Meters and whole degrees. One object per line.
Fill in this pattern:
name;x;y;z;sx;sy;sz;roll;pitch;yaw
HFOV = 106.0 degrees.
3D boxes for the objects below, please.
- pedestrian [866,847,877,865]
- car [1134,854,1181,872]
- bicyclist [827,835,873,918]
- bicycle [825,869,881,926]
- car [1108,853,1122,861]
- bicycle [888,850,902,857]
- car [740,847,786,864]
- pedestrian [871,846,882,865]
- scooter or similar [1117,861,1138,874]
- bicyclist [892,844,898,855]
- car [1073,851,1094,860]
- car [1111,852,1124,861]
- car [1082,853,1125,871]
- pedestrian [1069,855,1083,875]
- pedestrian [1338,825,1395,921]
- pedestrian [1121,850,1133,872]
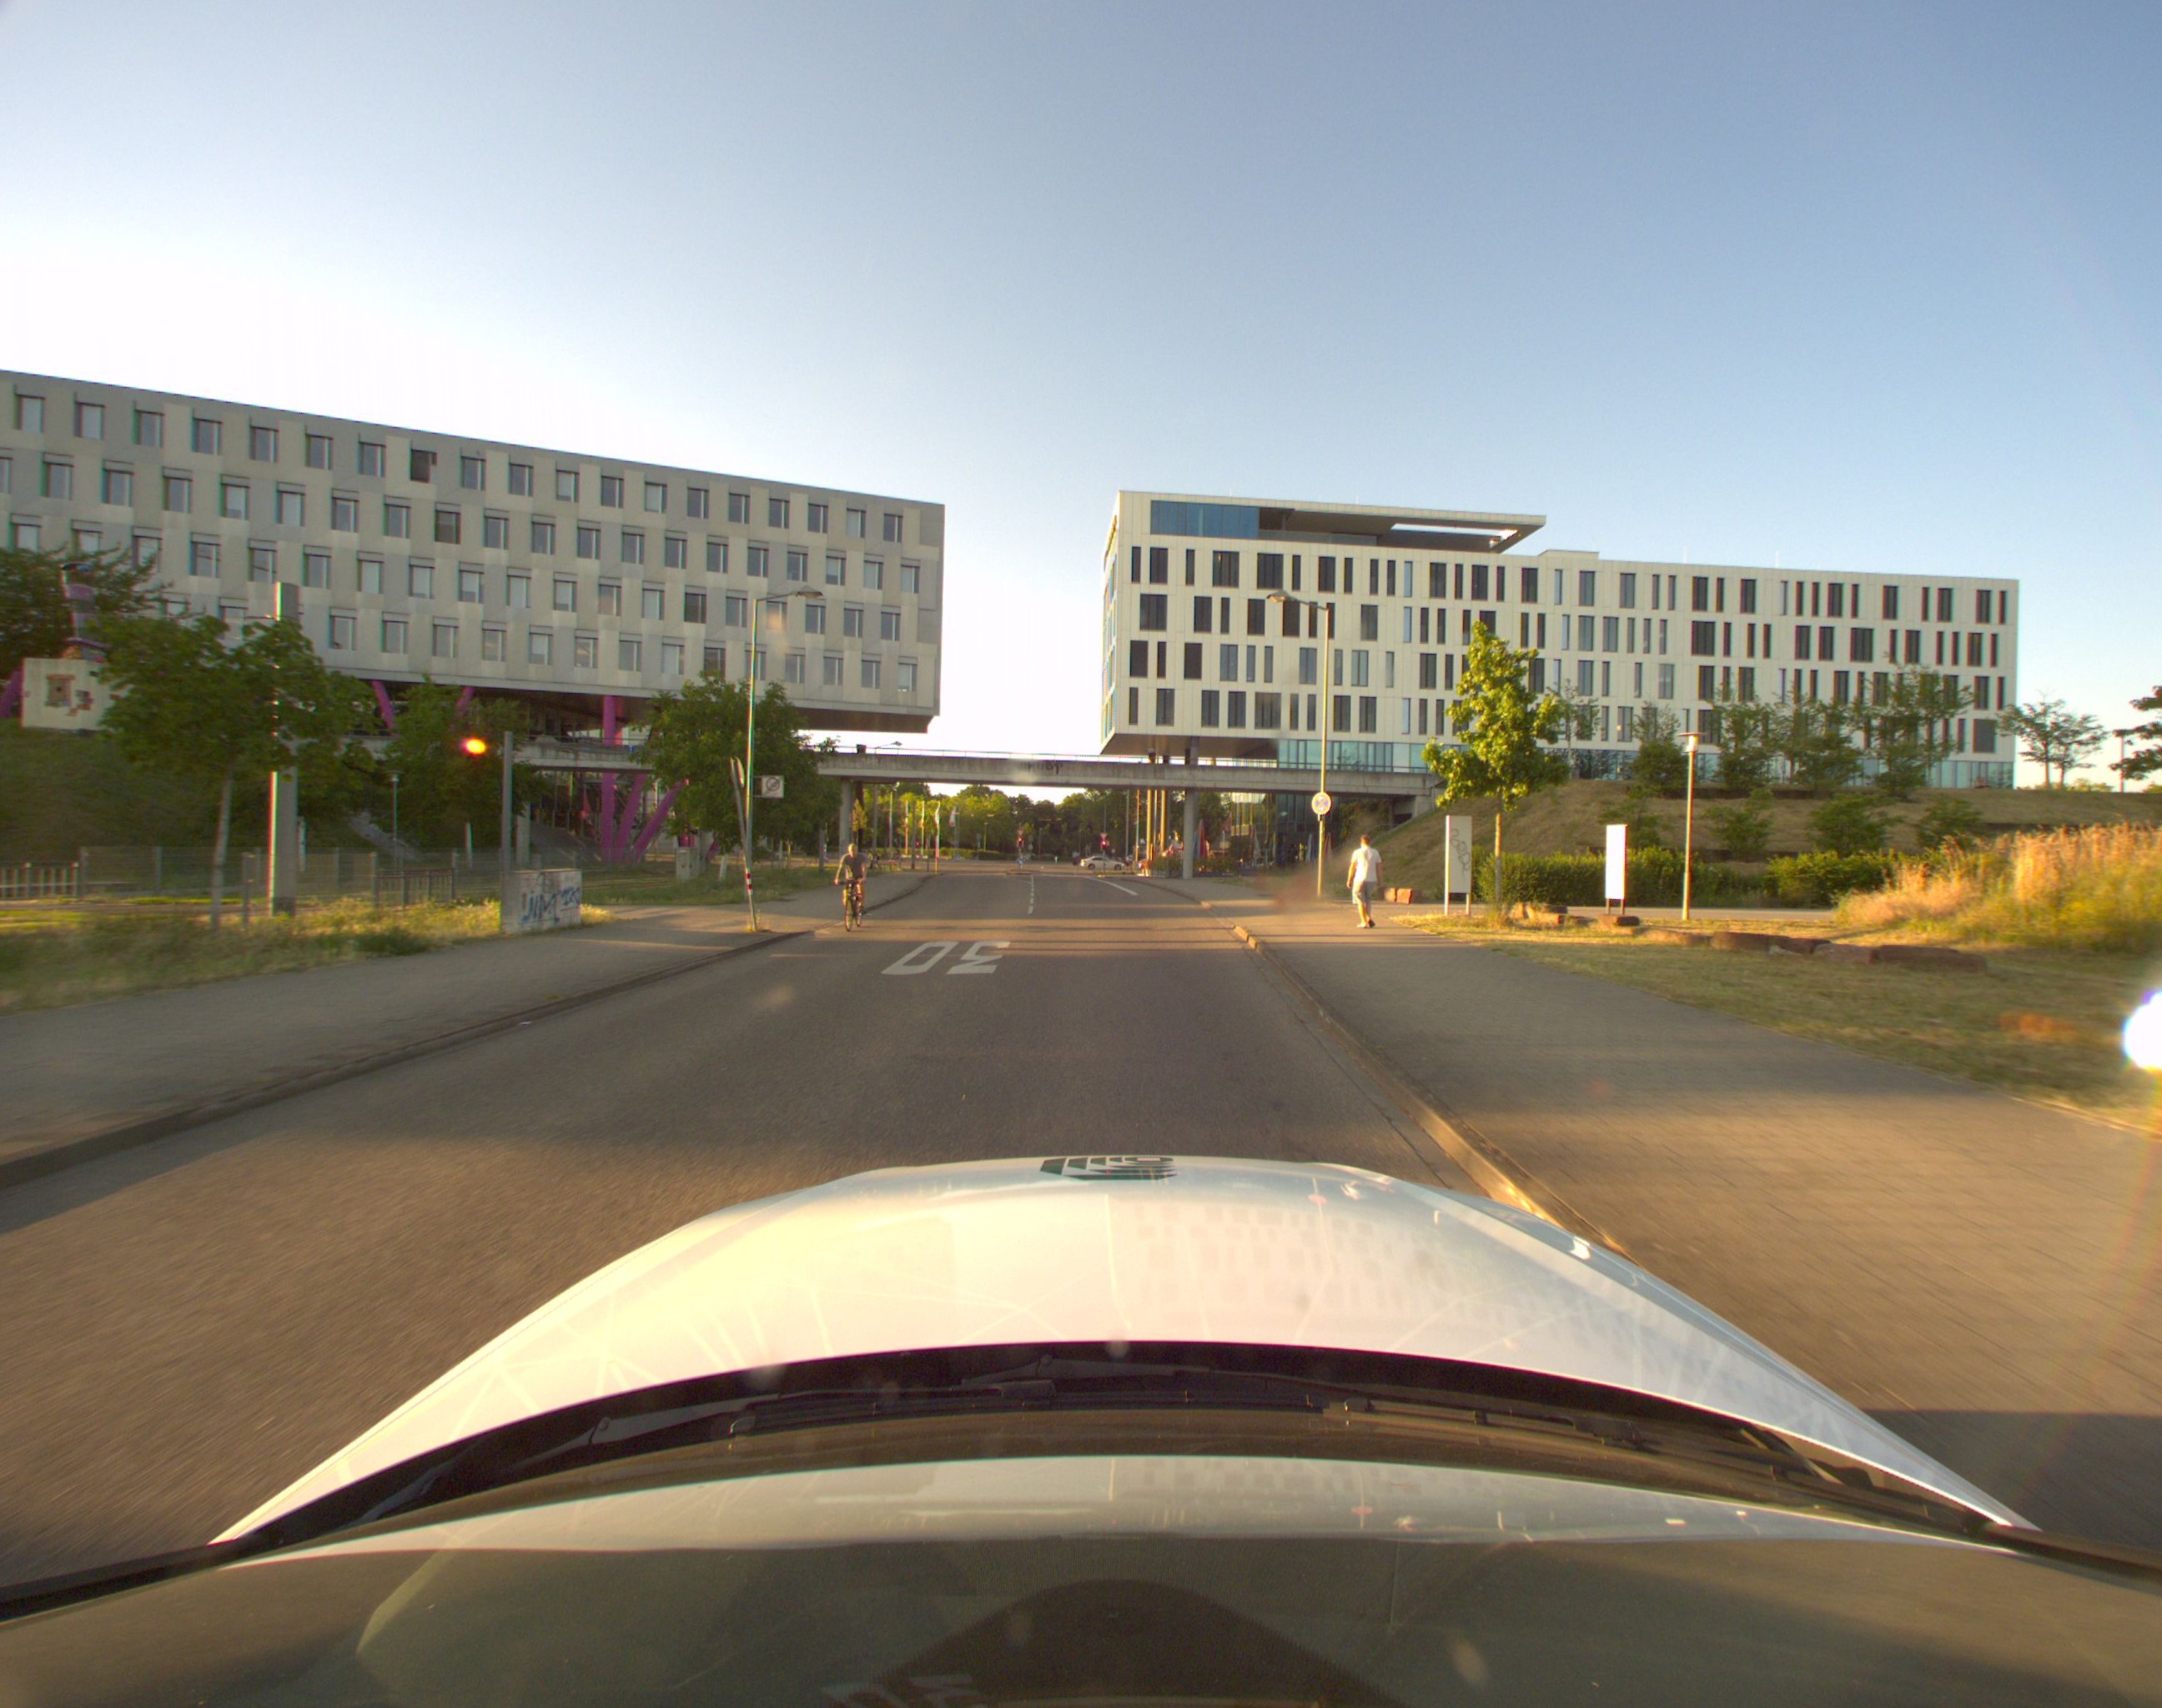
pedestrian;-18.643;0.154;72.481;0.681;1.624;0.715;1;1;14
car;8.390;0.972;89.407;4.717;1.828;1.885;1;1;-12
bicyclist;-4.794;0.444;16.947;0.612;1.662;1.037;1;1;2
bicycle;-4.749;0.879;17.080;0.536;1.043;1.926;1;1;2
car;6.774;0.536;161.291;1.484;1.606;3.422;1;1;23
bicycle;-28.577;-0.095;124.946;1.974;1.128;0.555;1;1;-29
car;-36.207;0.111;92.695;4.459;1.816;1.942;1;1;-5
pedestrian;-18.420;0.115;73.285;0.695;1.664;0.715;1;1;14
scooter or similar;4.395;1.308;77.596;1.861;1.174;0.761;1;1;-12
bicyclist;-28.570;-0.655;124.951;0.761;1.723;0.547;1;1;-28
car;0.584;0.354;184.102;4.664;1.869;2.015;1;1;3
car;7.330;0.471;165.057;1.484;1.606;3.422;1;1;23
car;2.529;0.870;91.551;4.675;1.828;1.833;1;1;-3
pedestrian;-0.438;0.989;74.136;1.056;1.834;0.890;1;1;-16
pedestrian;5.429;0.366;15.539;0.827;1.767;0.819;1;-2;4
pedestrian;4.391;0.655;77.573;0.909;1.990;0.769;1;1;-11
